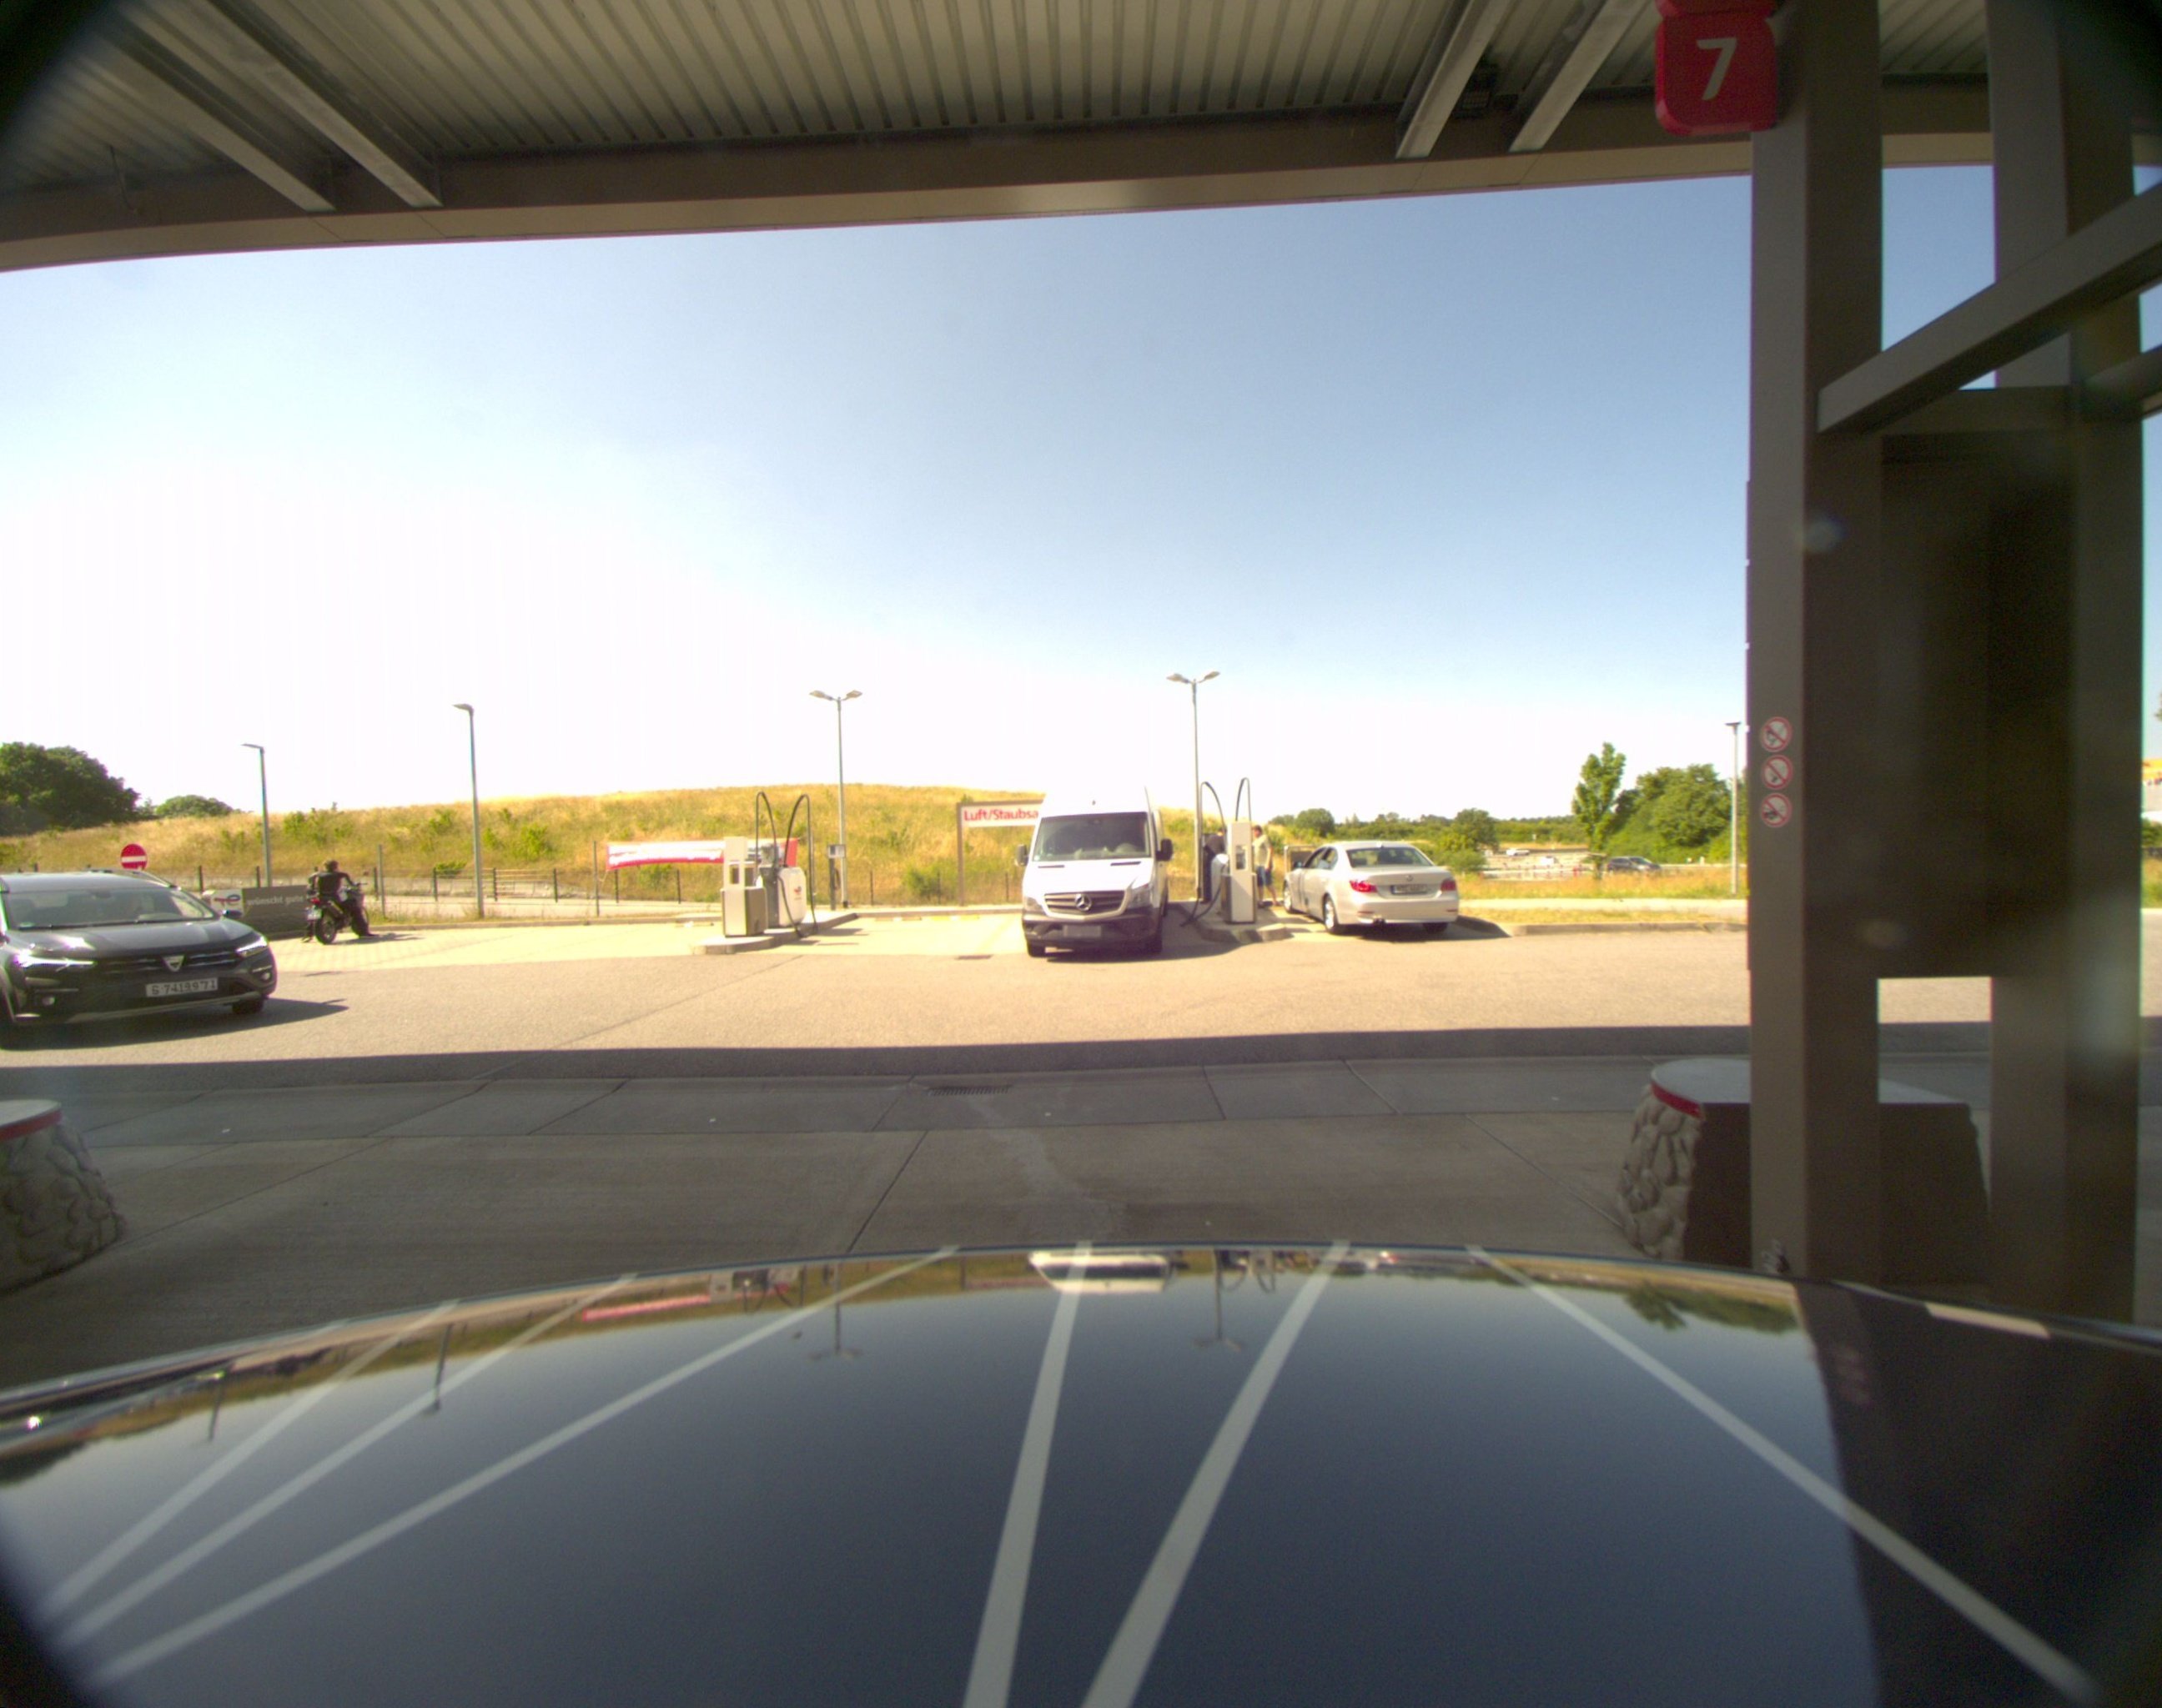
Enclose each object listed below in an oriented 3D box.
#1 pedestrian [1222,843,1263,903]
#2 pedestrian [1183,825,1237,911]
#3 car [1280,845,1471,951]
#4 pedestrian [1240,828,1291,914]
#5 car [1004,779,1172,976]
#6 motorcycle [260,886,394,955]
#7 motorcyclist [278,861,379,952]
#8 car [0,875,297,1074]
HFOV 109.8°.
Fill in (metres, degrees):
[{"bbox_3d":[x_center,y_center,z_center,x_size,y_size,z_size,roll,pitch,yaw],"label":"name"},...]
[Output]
[{"bbox_3d":[3.601,0.418,16.933,0.670,1.299,0.576,-3,2,-44],"label":"pedestrian"},{"bbox_3d":[2.724,0.273,16.052,0.710,1.759,0.843,-3,2,-42],"label":"pedestrian"},{"bbox_3d":[4.810,0.611,13.124,1.791,1.420,4.321,-1,2,3],"label":"car"},{"bbox_3d":[3.869,0.346,15.985,0.845,1.739,0.709,-2,1,-4],"label":"pedestrian"},{"bbox_3d":[0.508,0.157,13.427,1.997,2.557,7.032,-1,3,8],"label":"car"},{"bbox_3d":[-15.035,1.277,15.271,1.047,1.100,2.411,-2,2,-23],"label":"motorcycle"},{"bbox_3d":[-15.008,1.011,15.202,1.036,1.678,1.096,-2,1,-23],"label":"motorcyclist"},{"bbox_3d":[-10.883,1.104,8.193,4.621,1.635,1.746,-1,1,22],"label":"car"}]
